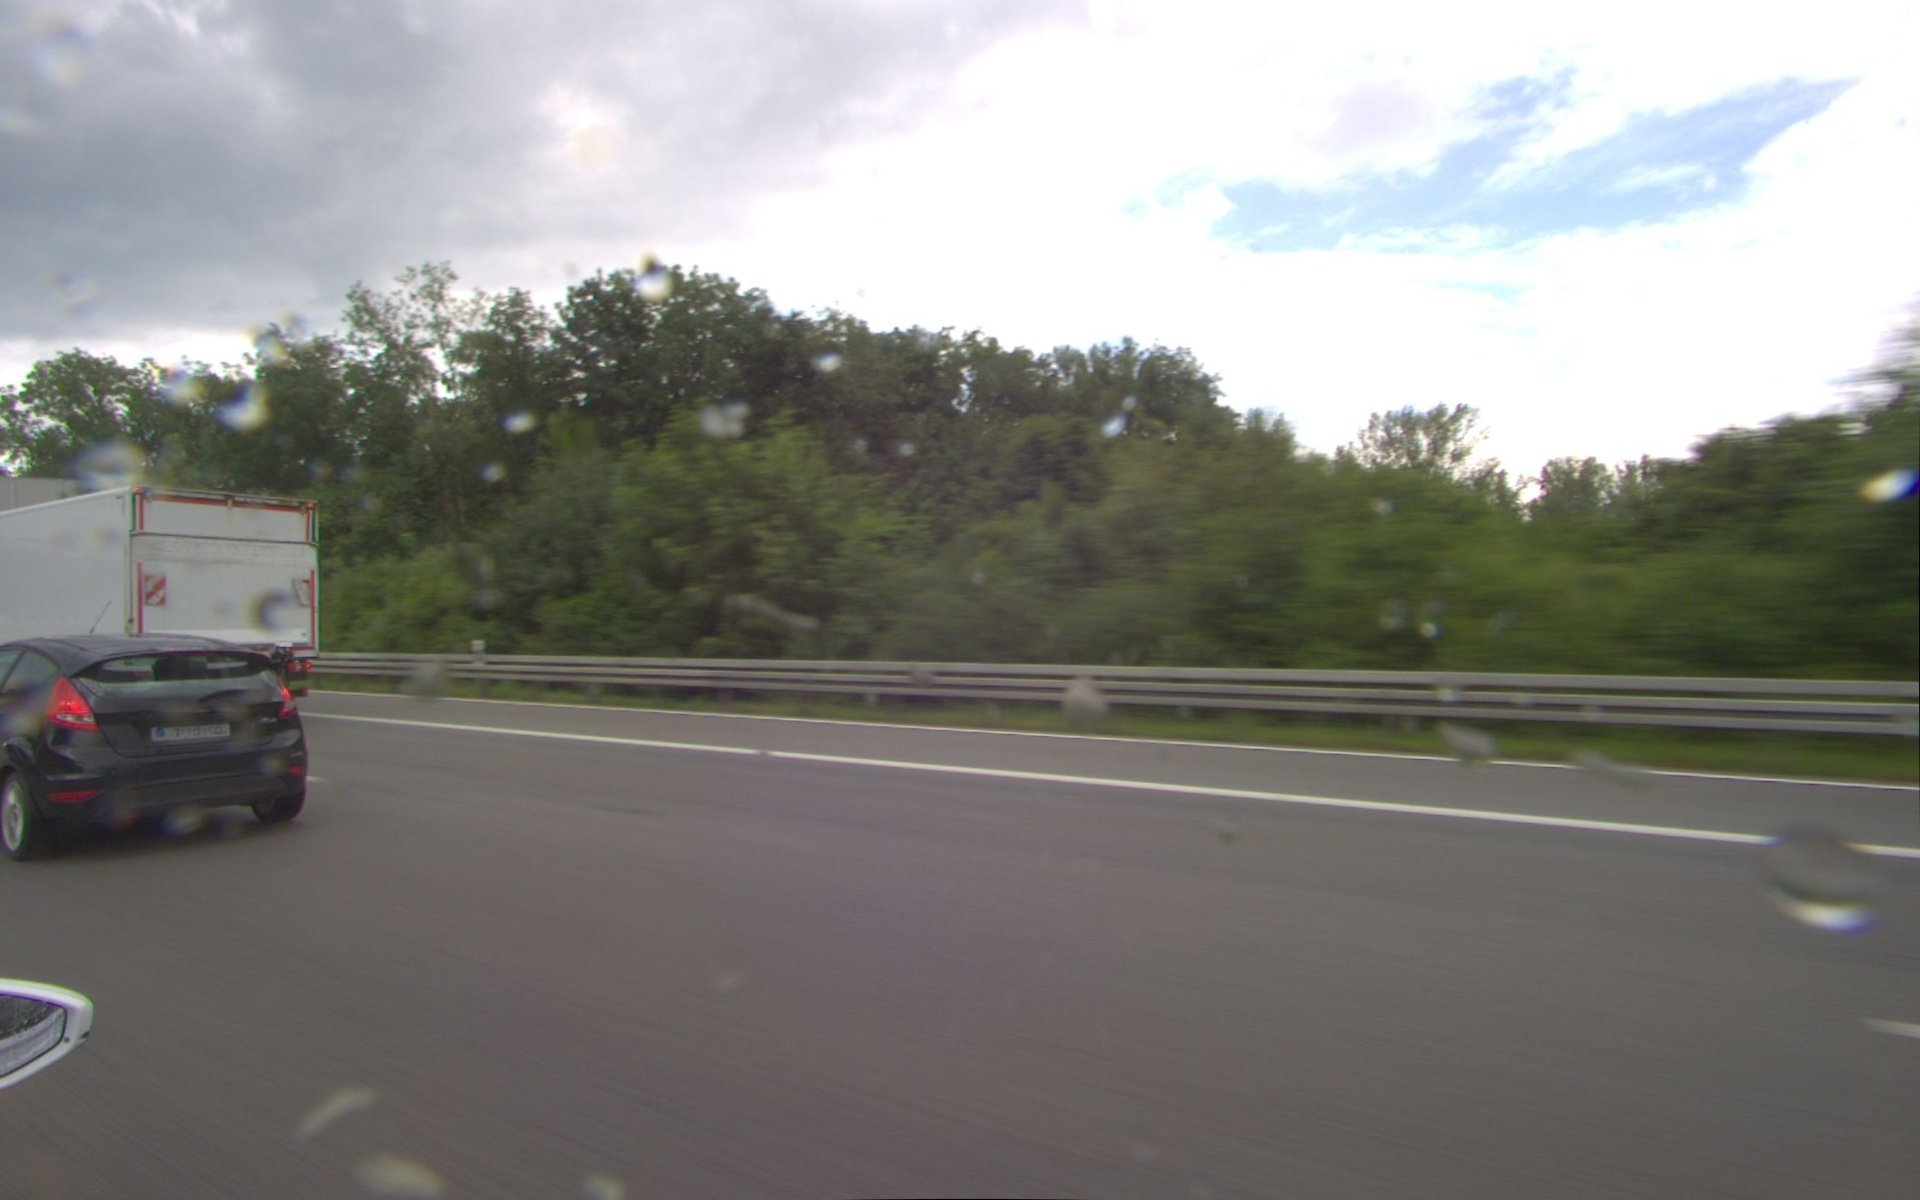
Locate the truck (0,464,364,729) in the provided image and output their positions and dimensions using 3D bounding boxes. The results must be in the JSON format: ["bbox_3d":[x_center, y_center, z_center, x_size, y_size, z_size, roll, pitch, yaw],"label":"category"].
[{"bbox_3d":[-14.924,0.042,18.139,9.708,3.757,3.127,-1,-1,33],"label":"truck"}]

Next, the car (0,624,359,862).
[{"bbox_3d":[-6.840,0.903,7.944,4.221,1.425,1.881,-1,-1,32],"label":"car"}]
